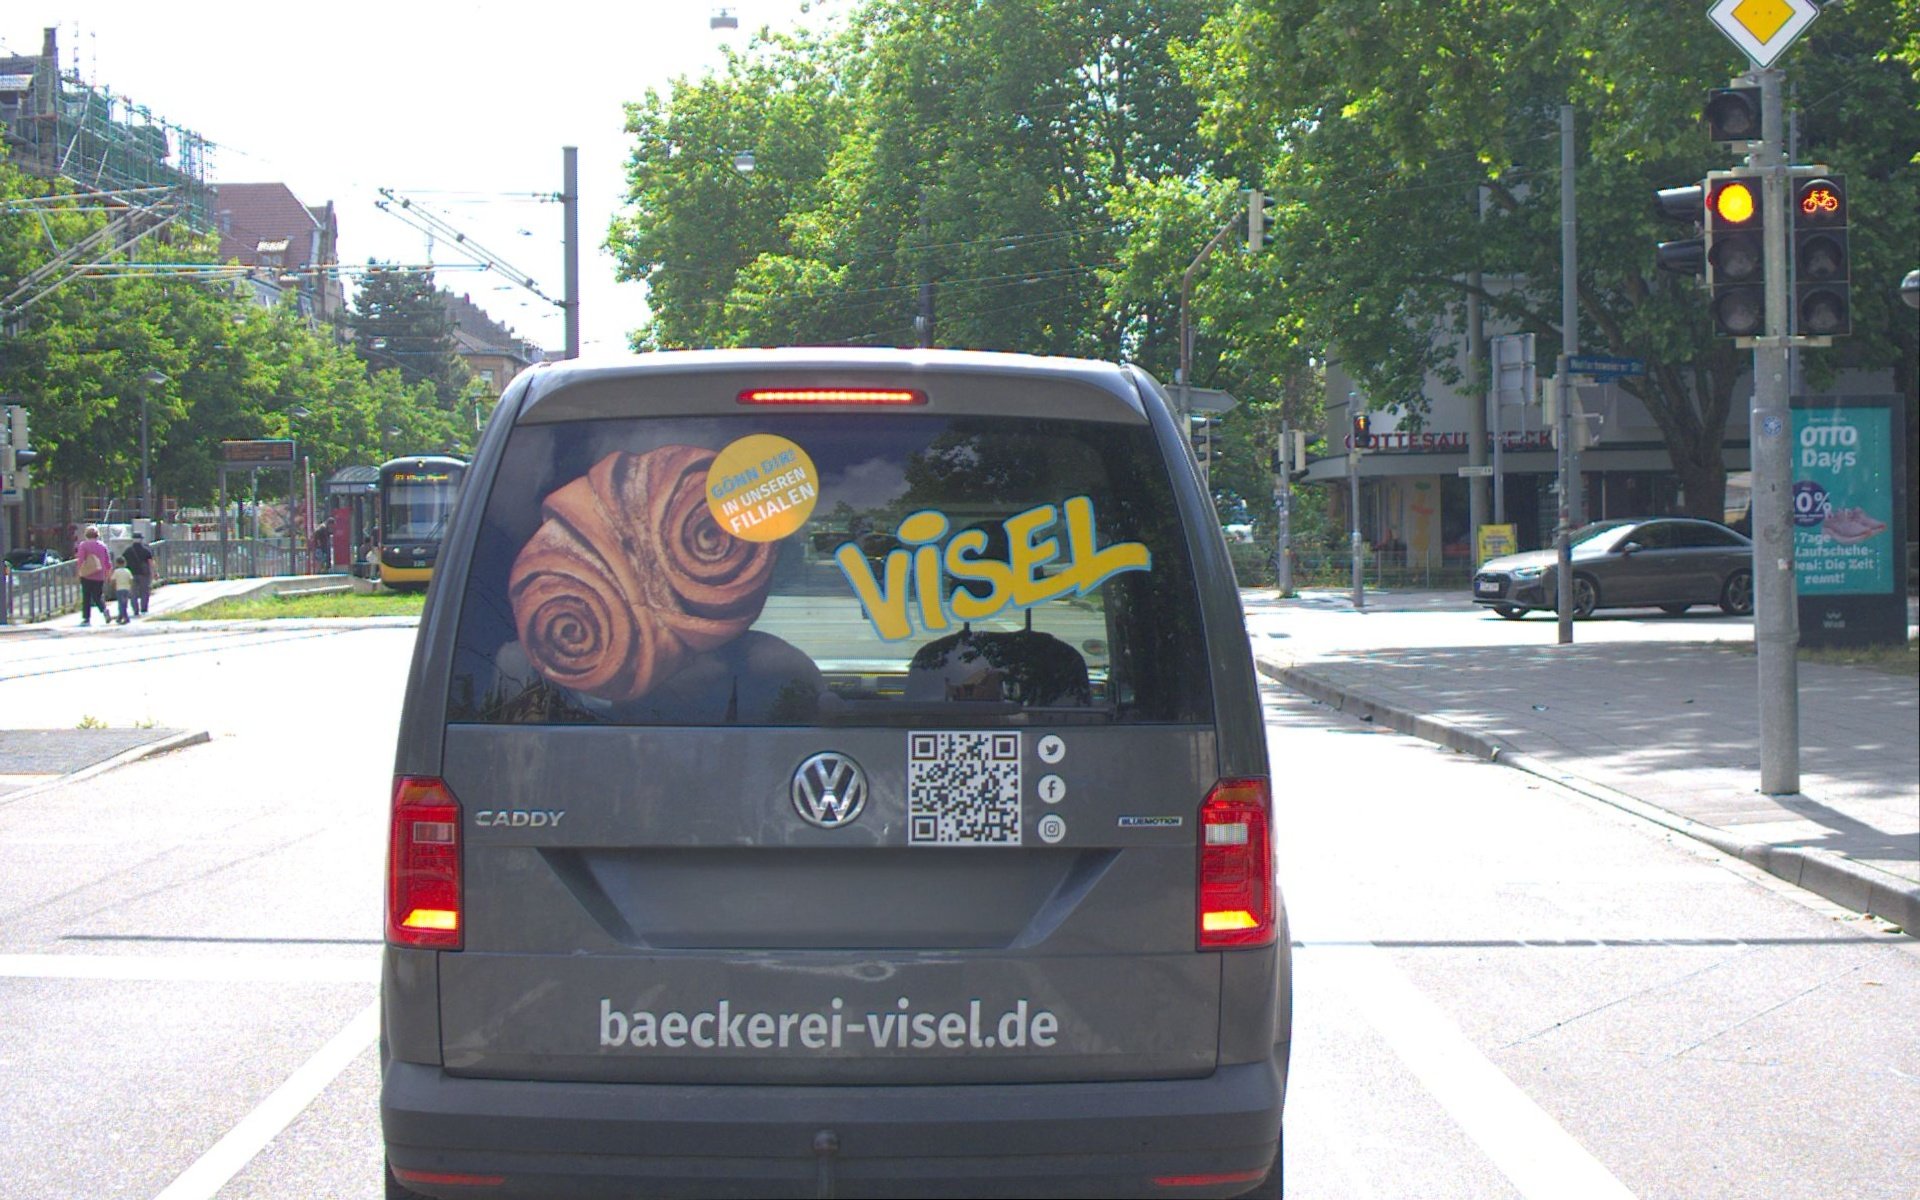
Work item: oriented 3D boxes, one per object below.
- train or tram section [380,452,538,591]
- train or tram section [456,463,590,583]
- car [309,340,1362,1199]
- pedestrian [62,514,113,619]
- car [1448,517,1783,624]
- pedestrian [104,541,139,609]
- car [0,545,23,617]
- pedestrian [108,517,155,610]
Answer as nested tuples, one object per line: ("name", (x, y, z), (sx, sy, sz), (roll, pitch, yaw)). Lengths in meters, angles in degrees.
("train or tram section", (-12.942, -2.059, 89.886), (2.240, 3.320, 12.972), (-1, 1, 0))
("train or tram section", (-12.991, -2.339, 103.328), (2.240, 3.320, 14.014), (-1, 1, 0))
("car", (-0.220, 0.432, 7.480), (1.750, 1.802, 3.475), (0, 1, 0))
("pedestrian", (-14.947, -0.582, 58.905), (0.659, 1.778, 0.660), (-1, 1, 0))
("car", (9.333, -0.441, 48.919), (4.480, 1.385, 1.707), (-2, 1, -24))
("pedestrian", (-14.364, -0.432, 58.897), (0.463, 1.140, 0.435), (-1, 1, 0))
("car", (-27.864, -0.510, 96.588), (1.993, 2.007, 4.000), (-1, 1, 0))
("pedestrian", (-15.285, -0.677, 63.430), (0.659, 1.679, 0.655), (-1, 1, 0))
